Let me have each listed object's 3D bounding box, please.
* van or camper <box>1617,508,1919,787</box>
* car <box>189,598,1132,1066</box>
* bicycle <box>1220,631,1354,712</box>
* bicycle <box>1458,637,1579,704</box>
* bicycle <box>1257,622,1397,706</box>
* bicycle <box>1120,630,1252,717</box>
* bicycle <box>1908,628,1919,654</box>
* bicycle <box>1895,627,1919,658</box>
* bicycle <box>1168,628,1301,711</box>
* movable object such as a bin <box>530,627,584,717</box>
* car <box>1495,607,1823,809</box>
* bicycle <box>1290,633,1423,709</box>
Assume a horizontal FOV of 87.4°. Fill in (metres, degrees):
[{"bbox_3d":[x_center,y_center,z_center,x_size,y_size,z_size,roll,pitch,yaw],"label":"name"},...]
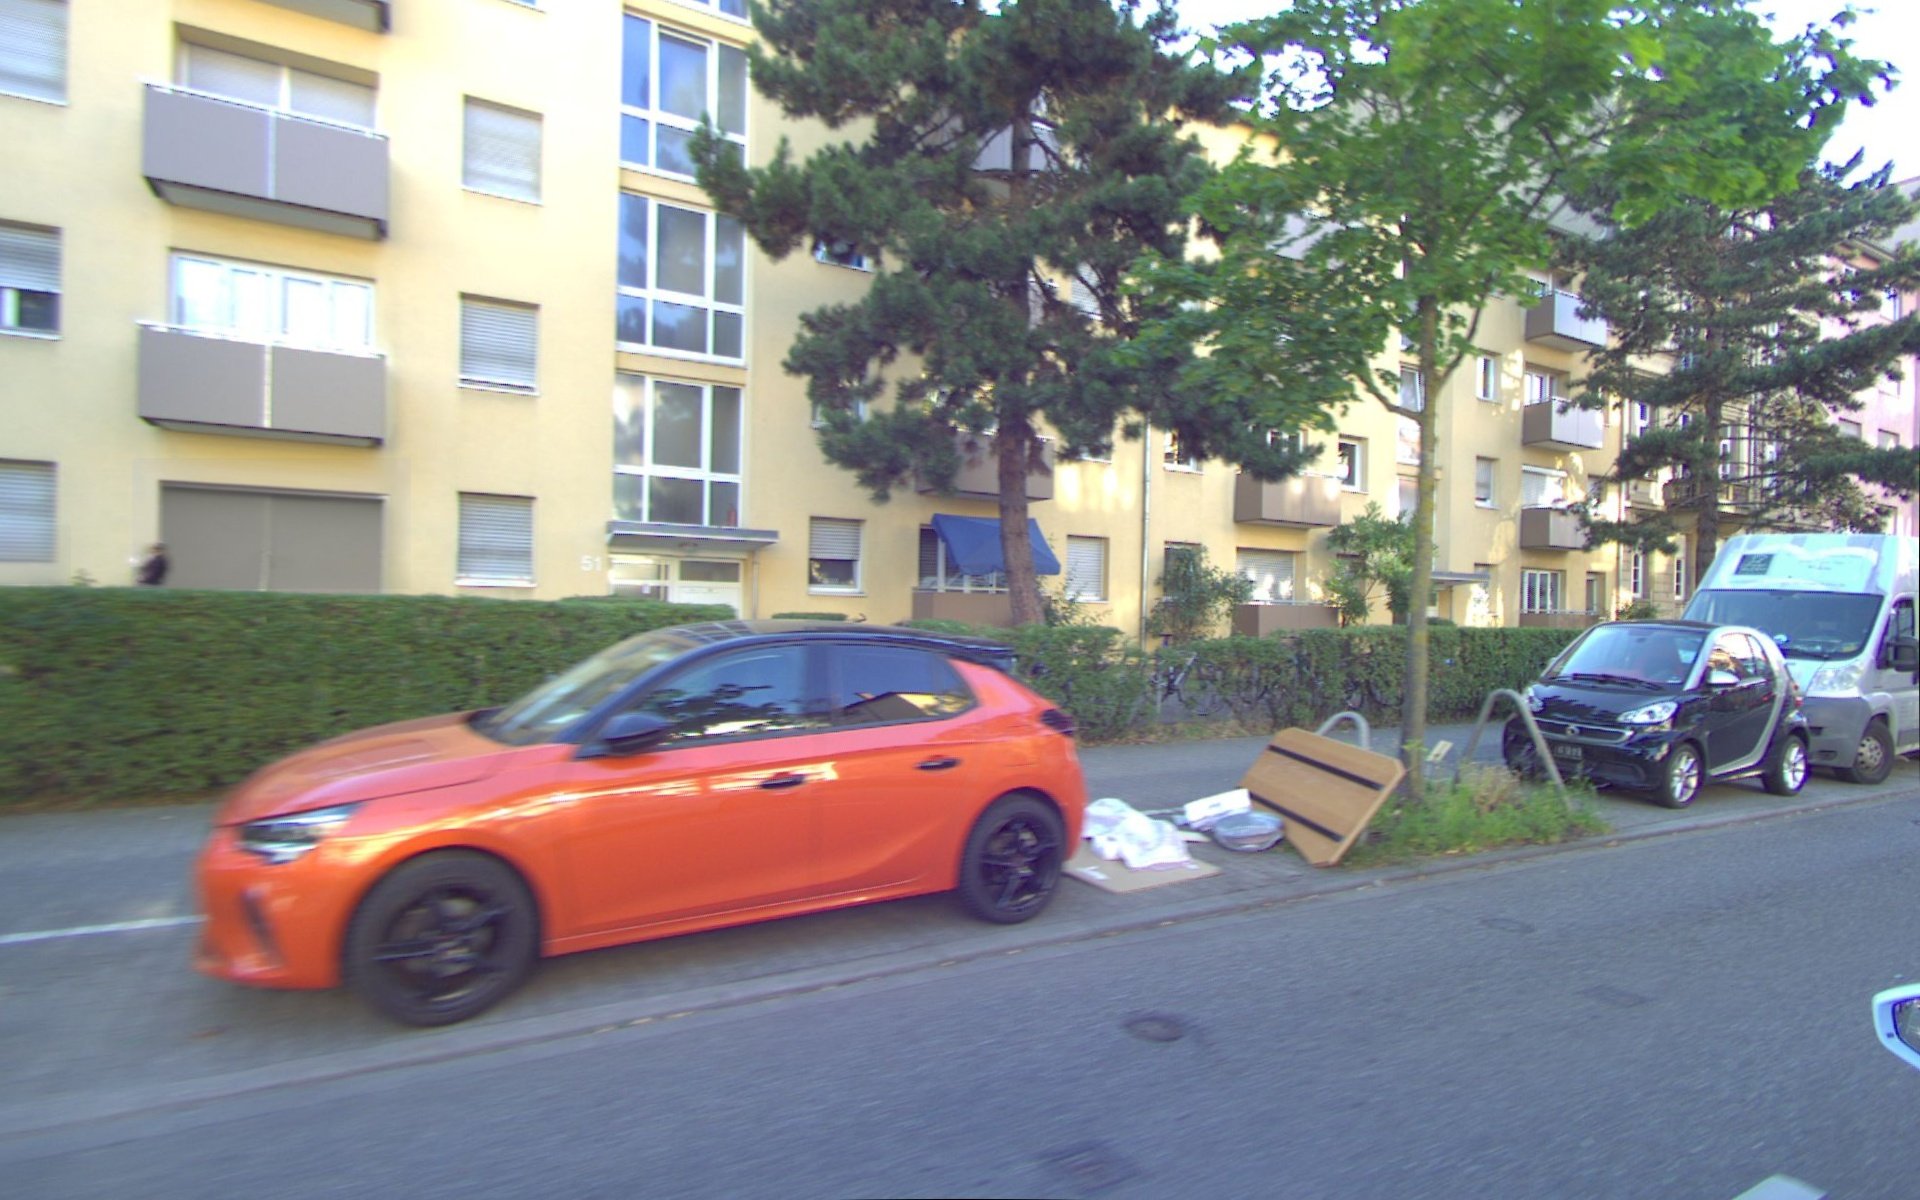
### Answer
[{"bbox_3d":[10.570,0.492,12.163,5.951,2.699,2.024,2,2,-33],"label":"van or camper"},{"bbox_3d":[-1.216,0.779,4.954,3.877,1.471,1.708,1,1,-30],"label":"car"},{"bbox_3d":[4.592,0.974,14.260,0.575,0.938,1.927,1,2,-28],"label":"bicycle"},{"bbox_3d":[9.516,1.178,17.180,0.582,0.994,1.751,1,1,-28],"label":"bicycle"},{"bbox_3d":[5.342,0.902,14.730,0.603,1.108,1.926,1,0,-35],"label":"bicycle"},{"bbox_3d":[2.962,0.943,13.395,0.575,0.938,1.927,1,2,-28],"label":"bicycle"},{"bbox_3d":[38.958,1.670,40.052,0.546,1.054,1.653,2,1,-43],"label":"bicycle"},{"bbox_3d":[37.627,1.673,39.119,1.647,1.175,0.495,3,1,35],"label":"bicycle"},{"bbox_3d":[3.729,0.921,13.838,0.575,0.938,1.927,1,2,-28],"label":"bicycle"},{"bbox_3d":[-4.396,0.767,10.958,0.441,0.937,0.577,1,0,-32],"label":"movable object such as a bin"},{"bbox_3d":[6.536,0.910,9.386,2.727,1.569,1.397,1,2,-29],"label":"car"},{"bbox_3d":[5.928,1.031,15.152,0.575,0.938,1.927,1,2,-28],"label":"bicycle"}]
